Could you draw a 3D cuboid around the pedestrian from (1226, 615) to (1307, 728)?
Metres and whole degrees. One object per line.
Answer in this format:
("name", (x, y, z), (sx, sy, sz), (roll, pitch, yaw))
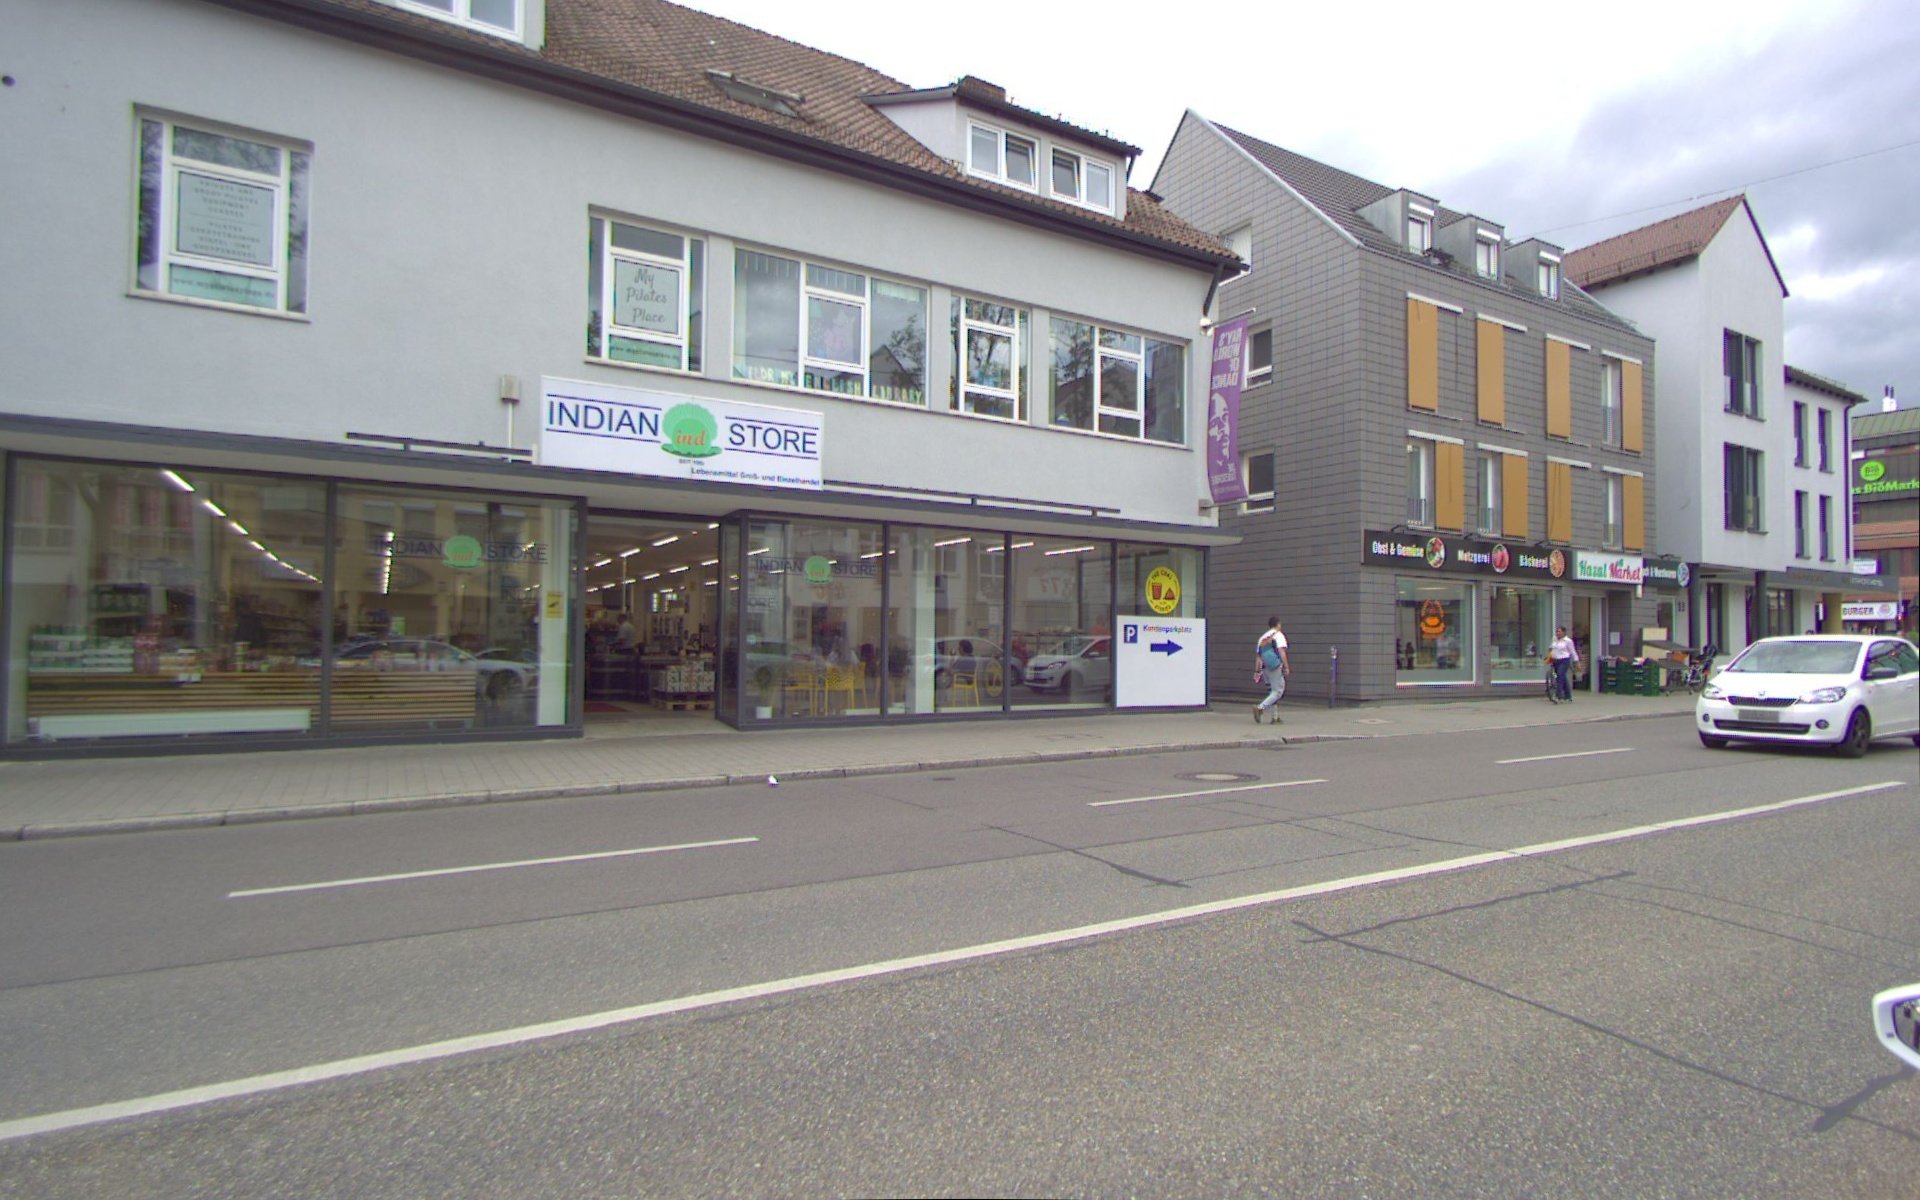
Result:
("pedestrian", (4.949, 1.135, 16.231), (0.969, 1.728, 0.750), (1, 1, -30))

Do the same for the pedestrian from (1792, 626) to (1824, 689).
("pedestrian", (22.942, 1.538, 27.165), (0.644, 1.672, 0.556), (-1, -2, 41))

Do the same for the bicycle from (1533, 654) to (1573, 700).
("bicycle", (13.198, 1.703, 22.346), (1.472, 0.966, 0.323), (2, -2, -41))

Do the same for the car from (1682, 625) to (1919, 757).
("car", (11.118, 1.106, 13.061), (3.424, 1.508, 1.566), (1, -3, -31))

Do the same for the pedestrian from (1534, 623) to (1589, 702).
("pedestrian", (12.778, 1.304, 21.337), (0.744, 1.631, 0.725), (1, -2, -30))

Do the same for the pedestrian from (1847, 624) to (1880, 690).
("pedestrian", (25.079, 1.580, 27.885), (0.641, 1.799, 0.564), (1, -2, -39))

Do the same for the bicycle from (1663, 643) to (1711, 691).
("bicycle", (18.875, 1.720, 26.077), (1.806, 1.201, 0.384), (1, -2, -33))

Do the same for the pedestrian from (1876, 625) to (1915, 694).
("pedestrian", (24.990, 1.566, 26.844), (0.643, 1.814, 0.676), (1, -2, -40))

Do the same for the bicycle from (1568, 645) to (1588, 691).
("bicycle", (16.026, 1.752, 26.056), (0.380, 1.142, 1.288), (-1, -2, 29))
